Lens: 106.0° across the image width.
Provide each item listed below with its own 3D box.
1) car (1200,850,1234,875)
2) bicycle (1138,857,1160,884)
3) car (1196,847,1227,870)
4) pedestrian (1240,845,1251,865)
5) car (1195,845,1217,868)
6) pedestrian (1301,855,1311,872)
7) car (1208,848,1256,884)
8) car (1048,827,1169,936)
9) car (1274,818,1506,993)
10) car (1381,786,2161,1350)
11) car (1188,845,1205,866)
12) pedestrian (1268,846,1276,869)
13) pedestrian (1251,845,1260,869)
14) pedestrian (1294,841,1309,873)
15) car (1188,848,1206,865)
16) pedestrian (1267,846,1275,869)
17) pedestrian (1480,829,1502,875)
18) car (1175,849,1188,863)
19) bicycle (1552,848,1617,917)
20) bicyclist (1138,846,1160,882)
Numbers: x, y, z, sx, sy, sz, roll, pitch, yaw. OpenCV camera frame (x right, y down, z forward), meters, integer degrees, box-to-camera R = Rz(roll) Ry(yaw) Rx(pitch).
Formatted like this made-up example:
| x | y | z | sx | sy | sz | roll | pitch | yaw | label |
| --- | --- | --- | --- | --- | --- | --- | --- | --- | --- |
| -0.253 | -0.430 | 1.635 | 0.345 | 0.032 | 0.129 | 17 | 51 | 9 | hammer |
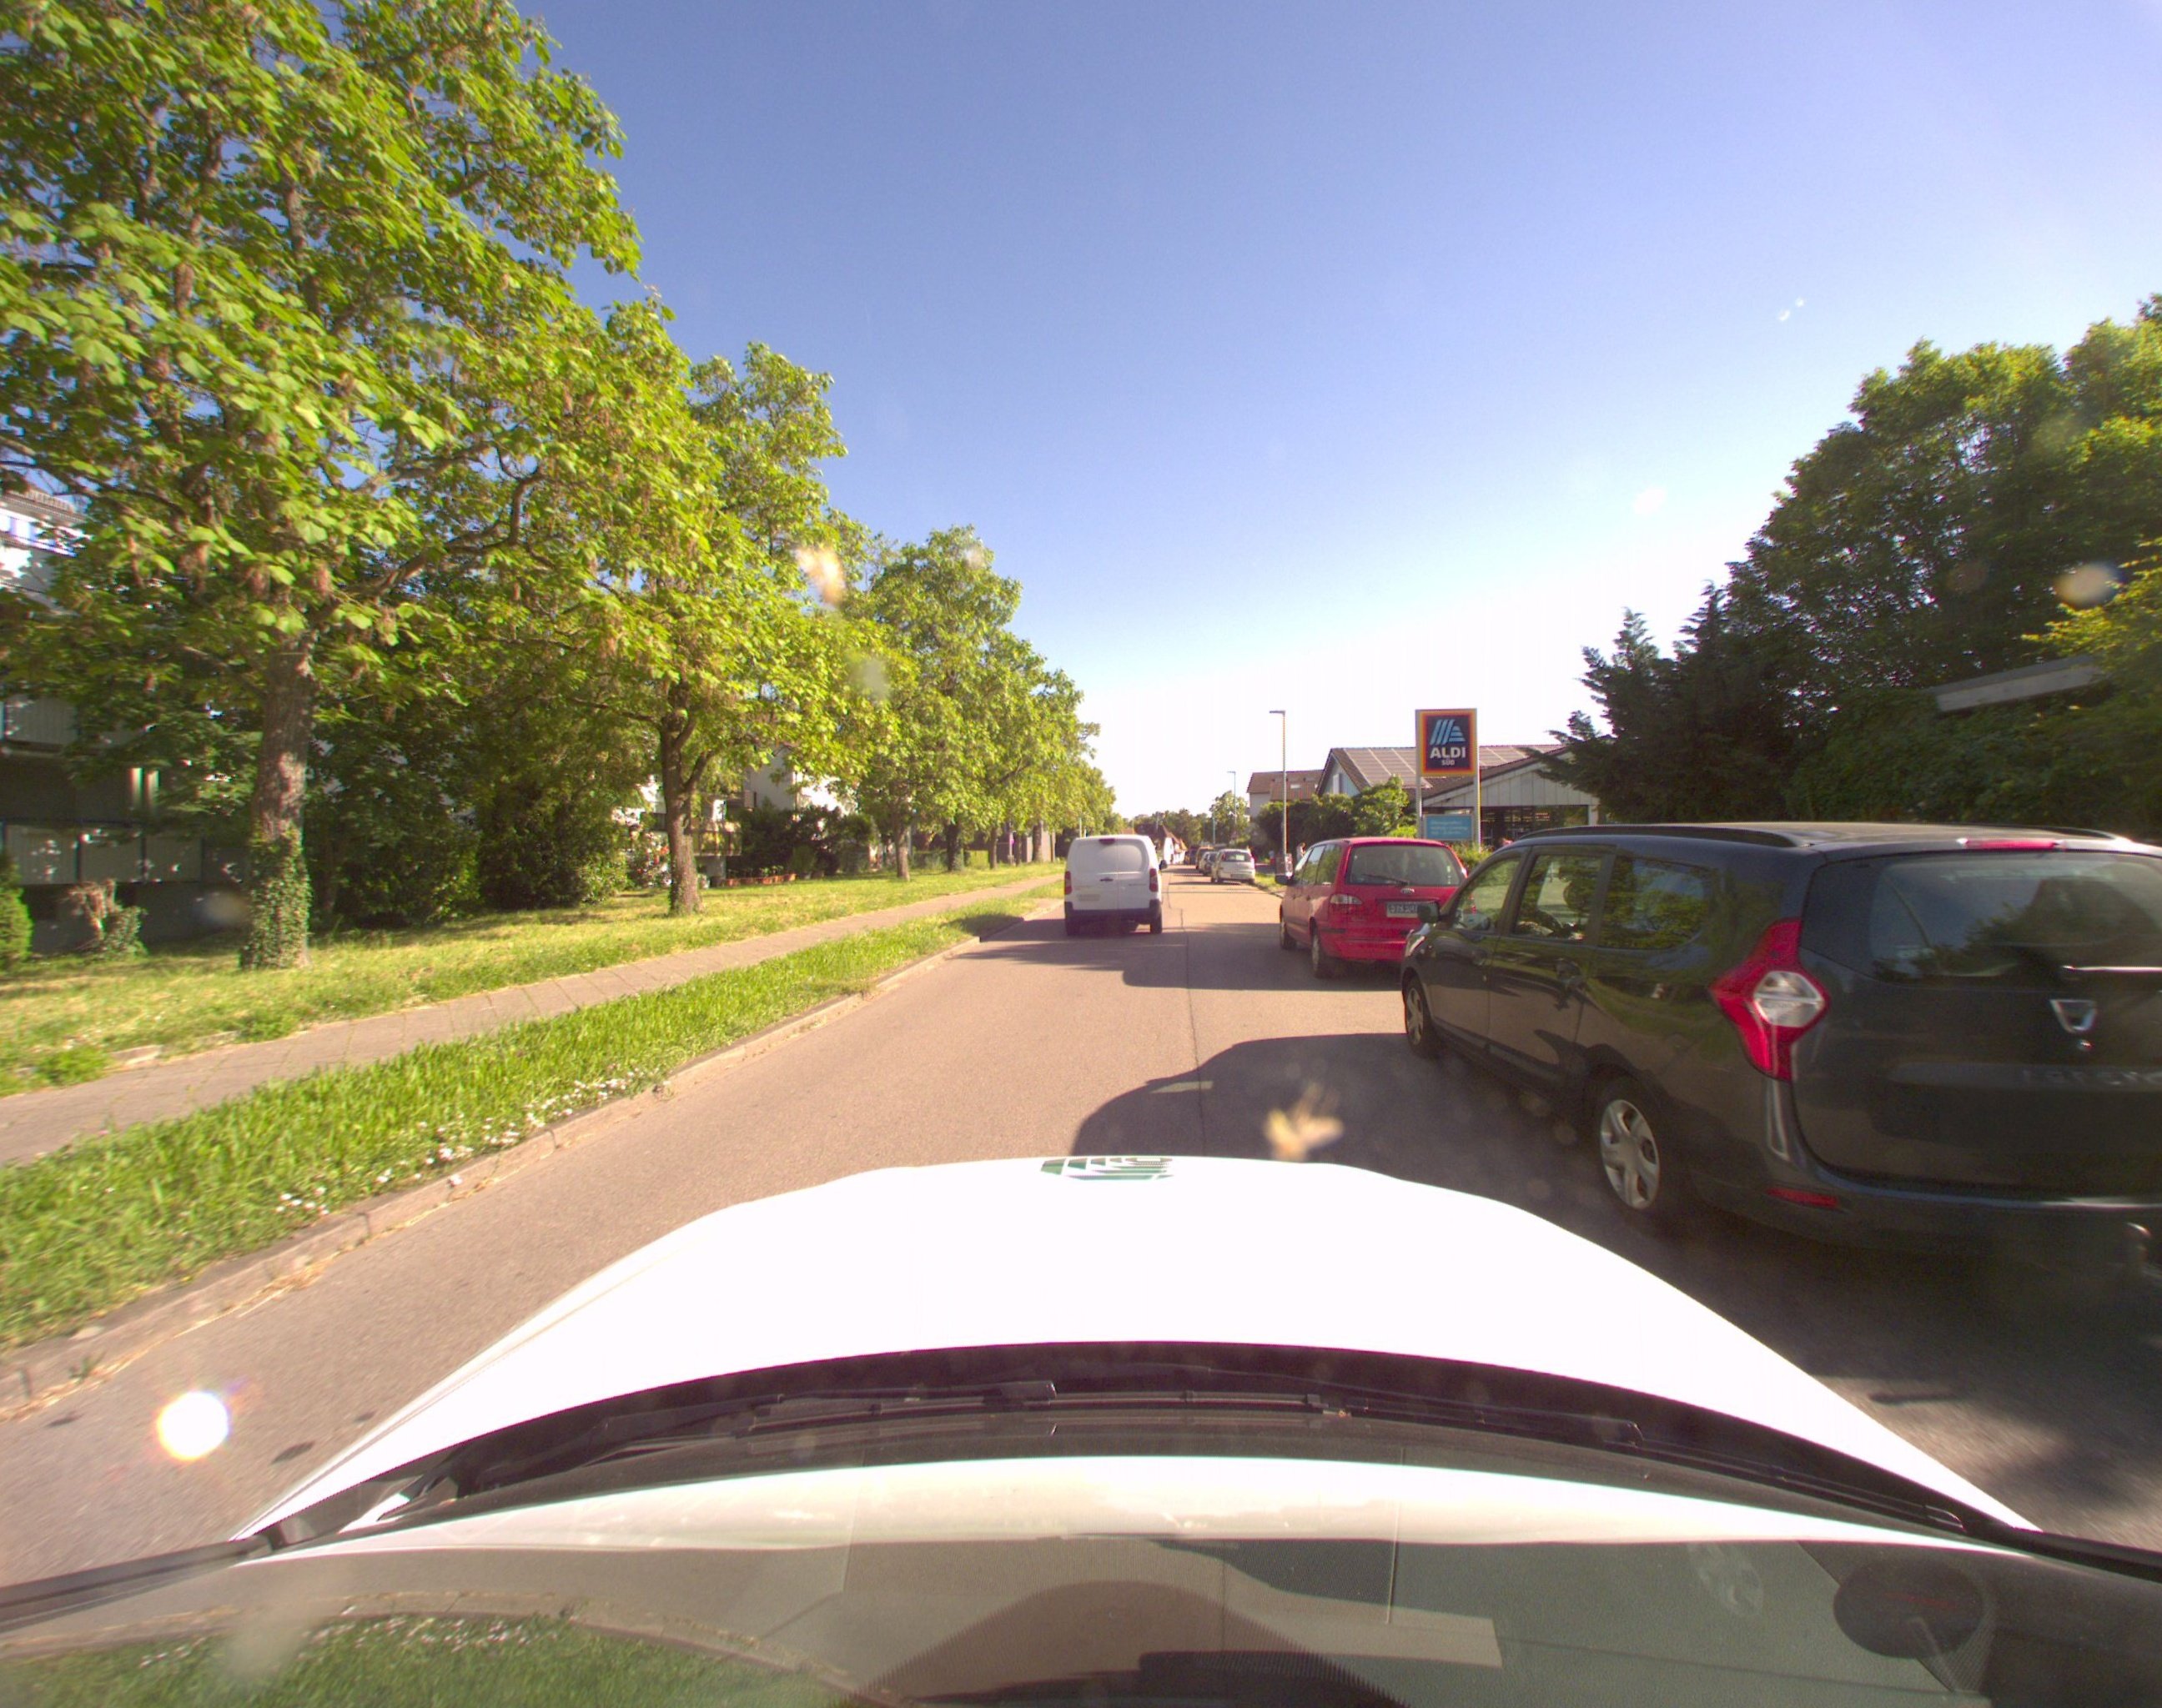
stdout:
| x | y | z | sx | sy | sz | roll | pitch | yaw | label |
| --- | --- | --- | --- | --- | --- | --- | --- | --- | --- |
| 8.213 | 0.471 | 49.400 | 1.798 | 1.443 | 4.371 | 0 | 0 | 7 | car |
| 3.040 | 0.709 | 36.490 | 0.784 | 1.138 | 2.280 | -1 | 0 | 0 | bicycle |
| 8.817 | 0.300 | 55.224 | 1.817 | 1.452 | 4.006 | 0 | 0 | 5 | car |
| 15.048 | 0.089 | 74.588 | 0.791 | 1.861 | 0.874 | 0 | 0 | -1 | pedestrian |
| 10.198 | 0.201 | 66.693 | 1.715 | 1.837 | 4.008 | 0 | 0 | 7 | car |
| 12.985 | 0.525 | 47.003 | 0.528 | 0.980 | 0.813 | 0 | 0 | 14 | pedestrian |
| 6.998 | 0.535 | 38.005 | 1.673 | 1.599 | 4.031 | 0 | 0 | 3 | car |
| 0.695 | 0.470 | 16.342 | 1.983 | 1.881 | 4.298 | -1 | 0 | 7 | car |
| 3.766 | 0.532 | 10.815 | 1.830 | 1.805 | 4.663 | -1 | 0 | 7 | car |
| 3.143 | 0.619 | 4.584 | 1.716 | 1.656 | 4.360 | -1 | 0 | 6 | car |
| 14.245 | 0.221 | 100.608 | 1.857 | 2.562 | 4.774 | 2 | -1 | 5 | car |
| 13.832 | 0.228 | 59.067 | 0.563 | 1.637 | 0.548 | -1 | 0 | 11 | pedestrian |
| 12.095 | 0.215 | 56.514 | 0.563 | 1.637 | 0.548 | -1 | 0 | 11 | pedestrian |
| 12.522 | 0.180 | 46.223 | 0.792 | 1.782 | 0.812 | -1 | 0 | 14 | pedestrian |
| 13.228 | 0.299 | 93.214 | 1.795 | 1.785 | 4.005 | 2 | -1 | 5 | car |
| 13.792 | 0.233 | 59.034 | 0.563 | 1.637 | 0.548 | -1 | 0 | 11 | pedestrian |
| 14.795 | -0.057 | 29.402 | 0.685 | 1.631 | 0.781 | -1 | 0 | 27 | pedestrian |
| 14.722 | 0.294 | 119.694 | 1.795 | 2.069 | 4.005 | 2 | -1 | 5 | car |
| 9.684 | 0.533 | 15.724 | 0.714 | 1.221 | 1.906 | -3 | -2 | 22 | bicycle |
| 3.022 | 0.442 | 36.494 | 0.903 | 1.584 | 0.966 | 0 | -1 | -1 | bicyclist |
